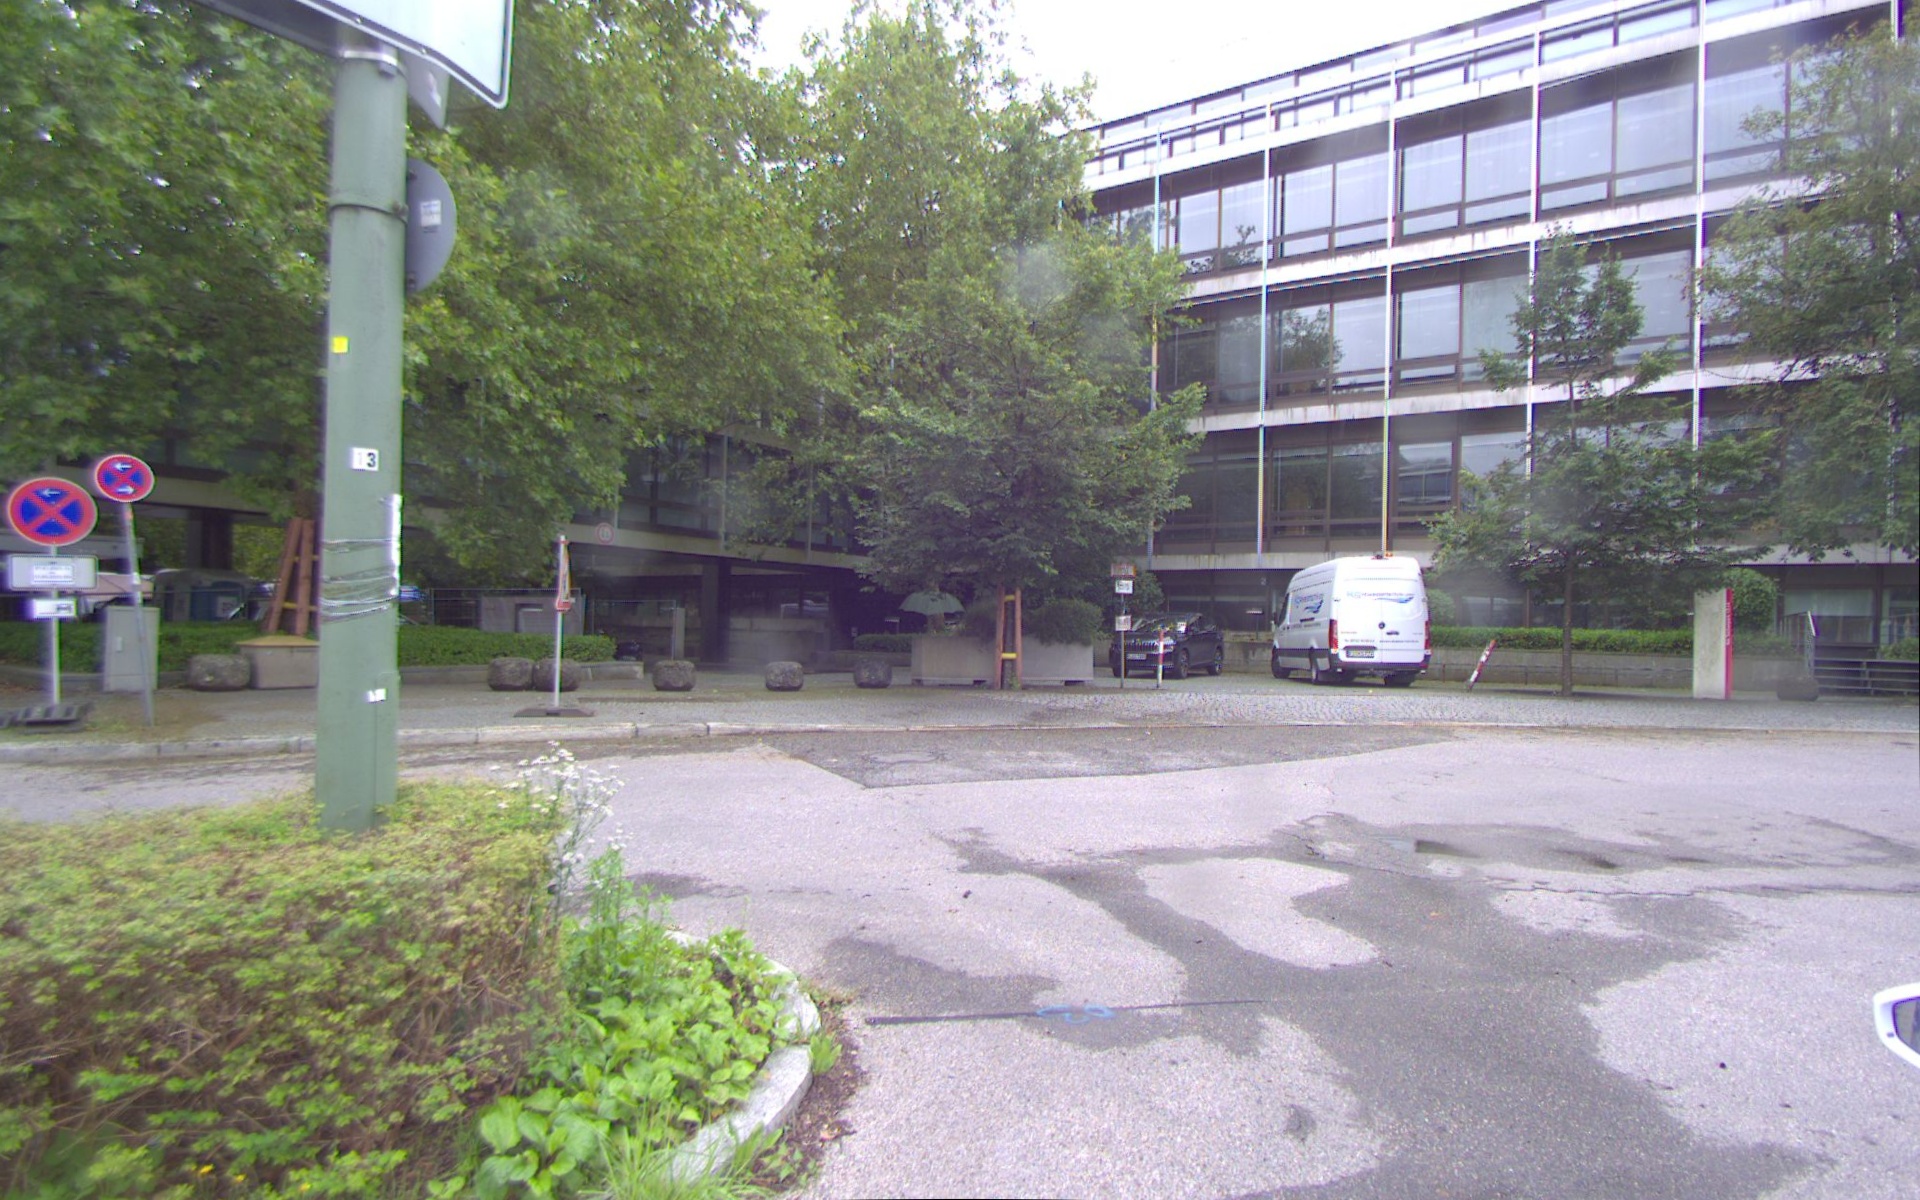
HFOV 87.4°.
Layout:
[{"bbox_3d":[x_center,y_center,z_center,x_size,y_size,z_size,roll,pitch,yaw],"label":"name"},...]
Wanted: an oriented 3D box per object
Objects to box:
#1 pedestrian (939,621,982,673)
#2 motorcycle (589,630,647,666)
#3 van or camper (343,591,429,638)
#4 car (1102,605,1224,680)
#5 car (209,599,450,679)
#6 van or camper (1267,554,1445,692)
[{"bbox_3d":[0.012,1.199,25.799,0.913,1.295,0.540,1,-1,35],"label":"pedestrian"},{"bbox_3d":[-10.639,1.497,31.316,1.665,1.069,0.670,1,-1,-17],"label":"motorcycle"},{"bbox_3d":[-33.530,0.829,58.695,4.567,2.630,2.275,0,-1,28],"label":"van or camper"},{"bbox_3d":[5.323,1.053,25.861,1.912,1.744,4.233,1,-1,28],"label":"car"},{"bbox_3d":[-13.130,0.790,21.116,1.881,1.493,3.850,1,-1,34],"label":"car"},{"bbox_3d":[8.670,0.594,22.722,2.119,2.614,6.545,2,-3,7],"label":"van or camper"}]
